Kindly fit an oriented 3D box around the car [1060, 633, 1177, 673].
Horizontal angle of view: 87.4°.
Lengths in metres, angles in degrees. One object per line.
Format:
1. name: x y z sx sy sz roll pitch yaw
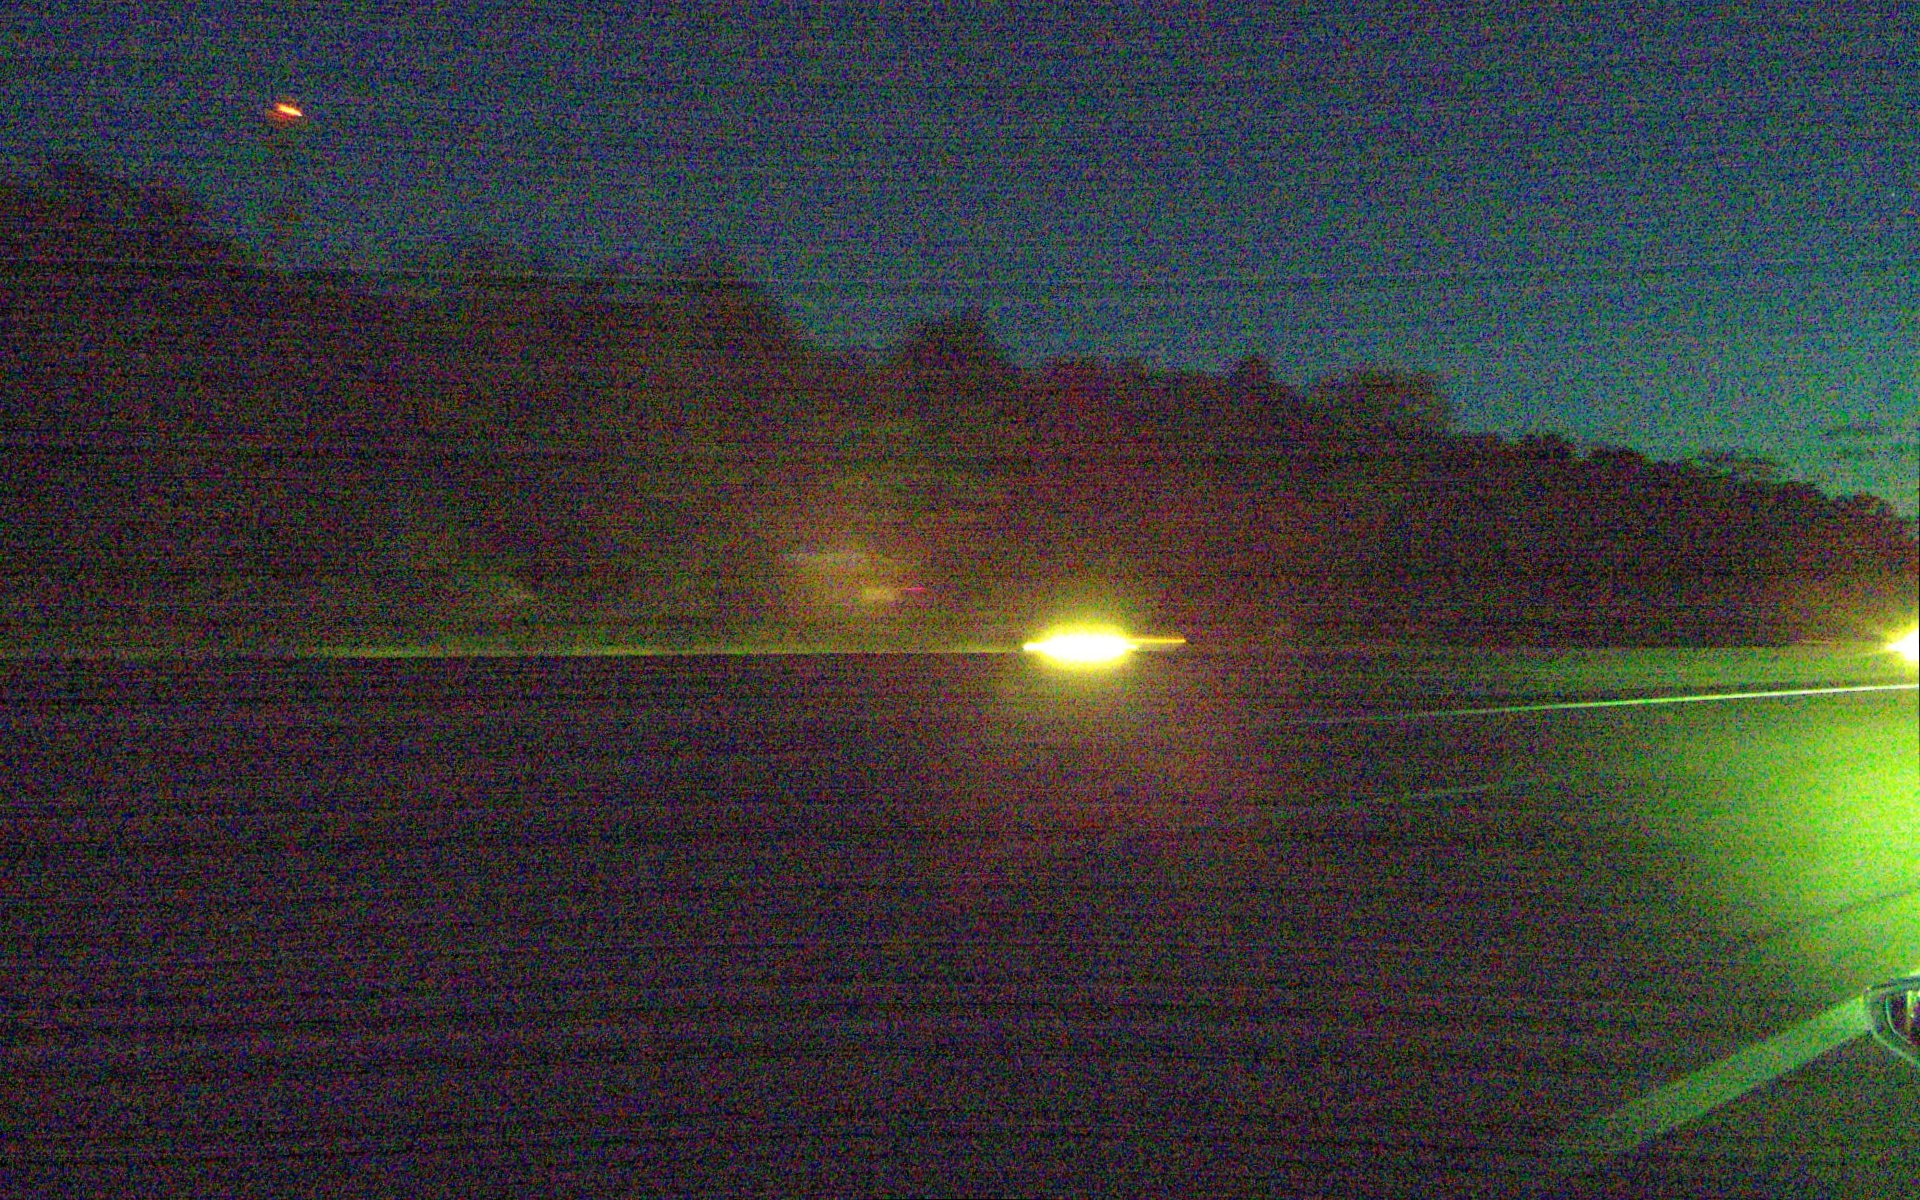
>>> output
1. car: 5.502 1.806 34.718 3.958 1.281 1.582 2 -1 -33
